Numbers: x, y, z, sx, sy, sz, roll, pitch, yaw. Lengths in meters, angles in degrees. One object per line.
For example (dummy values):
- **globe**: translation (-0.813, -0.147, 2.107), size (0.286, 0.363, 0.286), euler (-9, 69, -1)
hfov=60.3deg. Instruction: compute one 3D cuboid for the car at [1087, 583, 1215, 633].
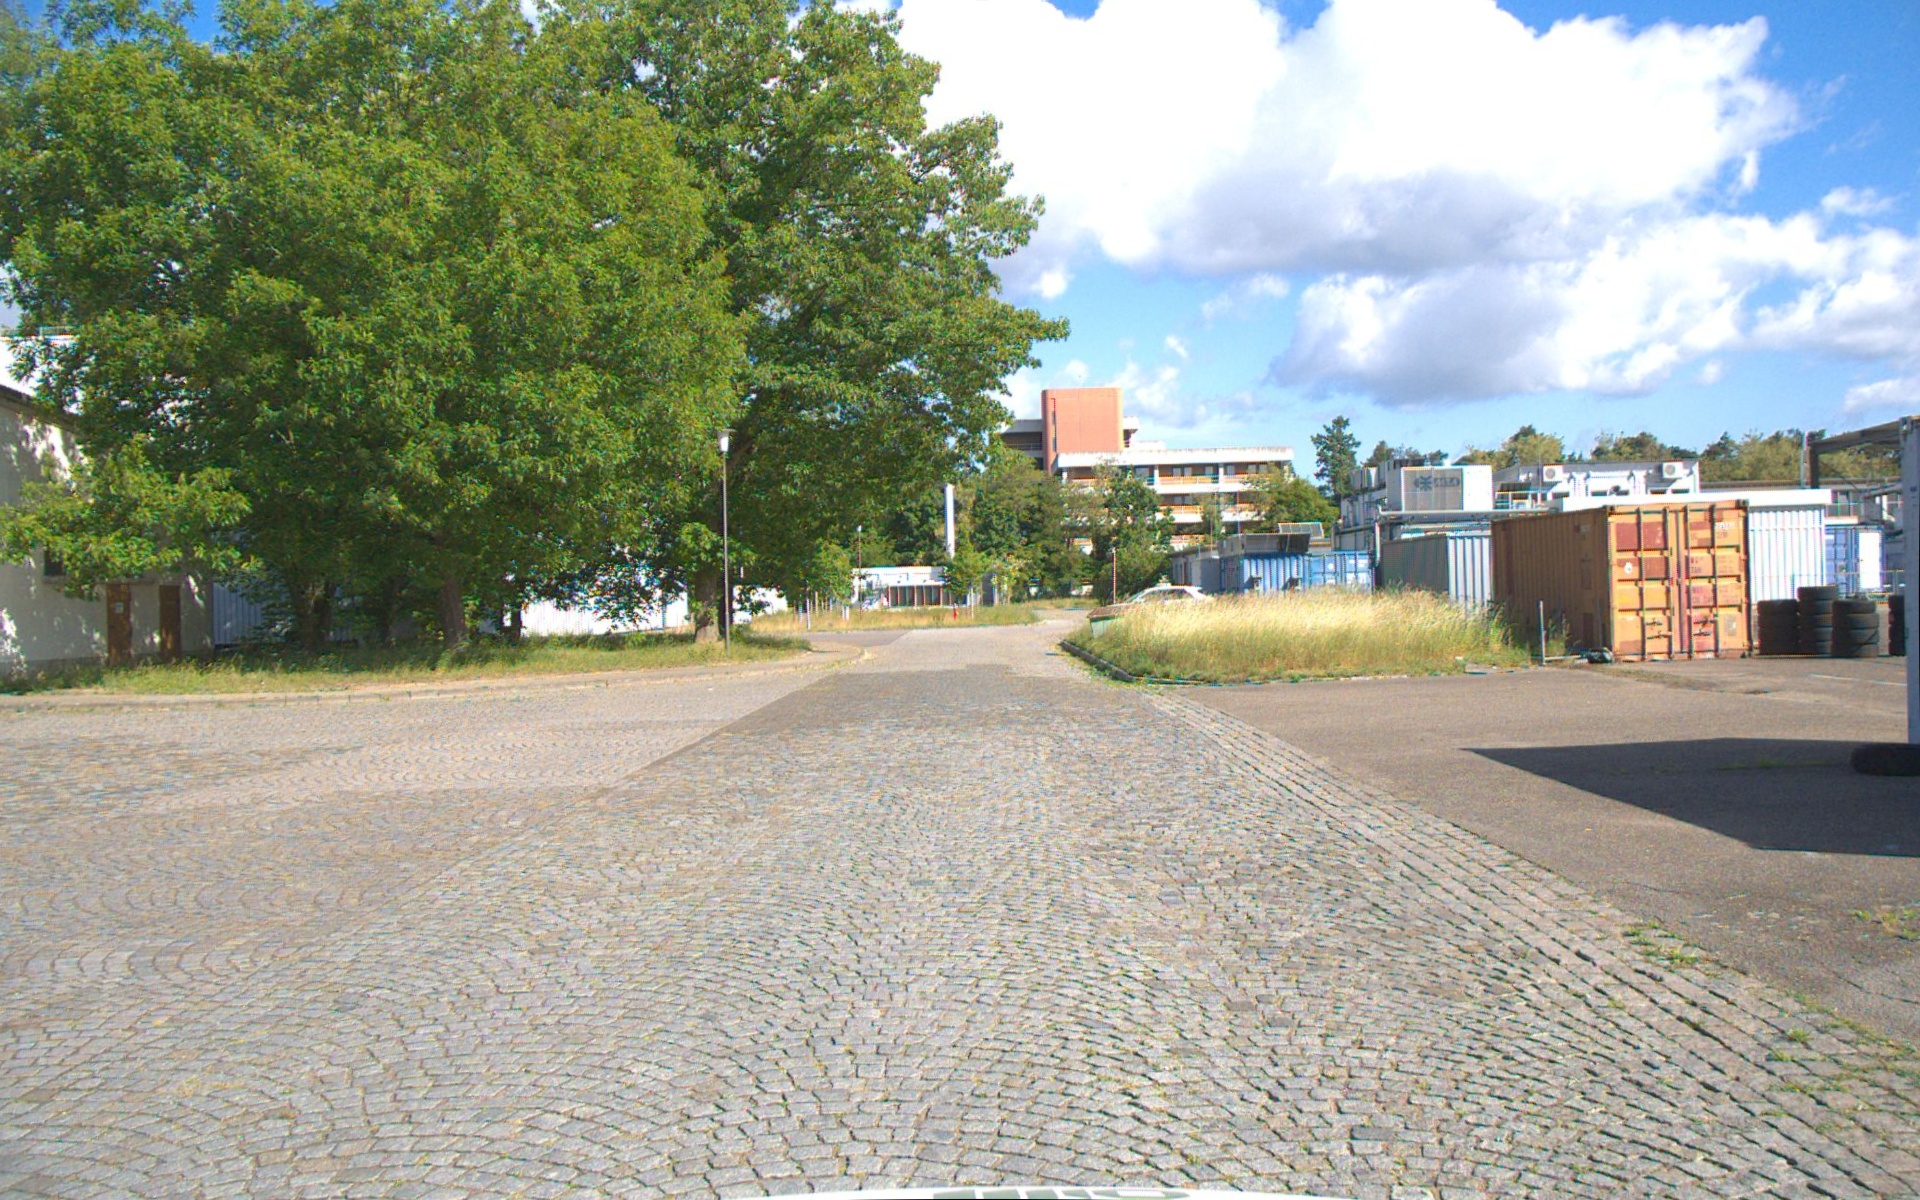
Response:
- **car**: translation (6.992, 0.293, 60.927), size (4.413, 1.676, 2.000), euler (-2, 0, -1)
